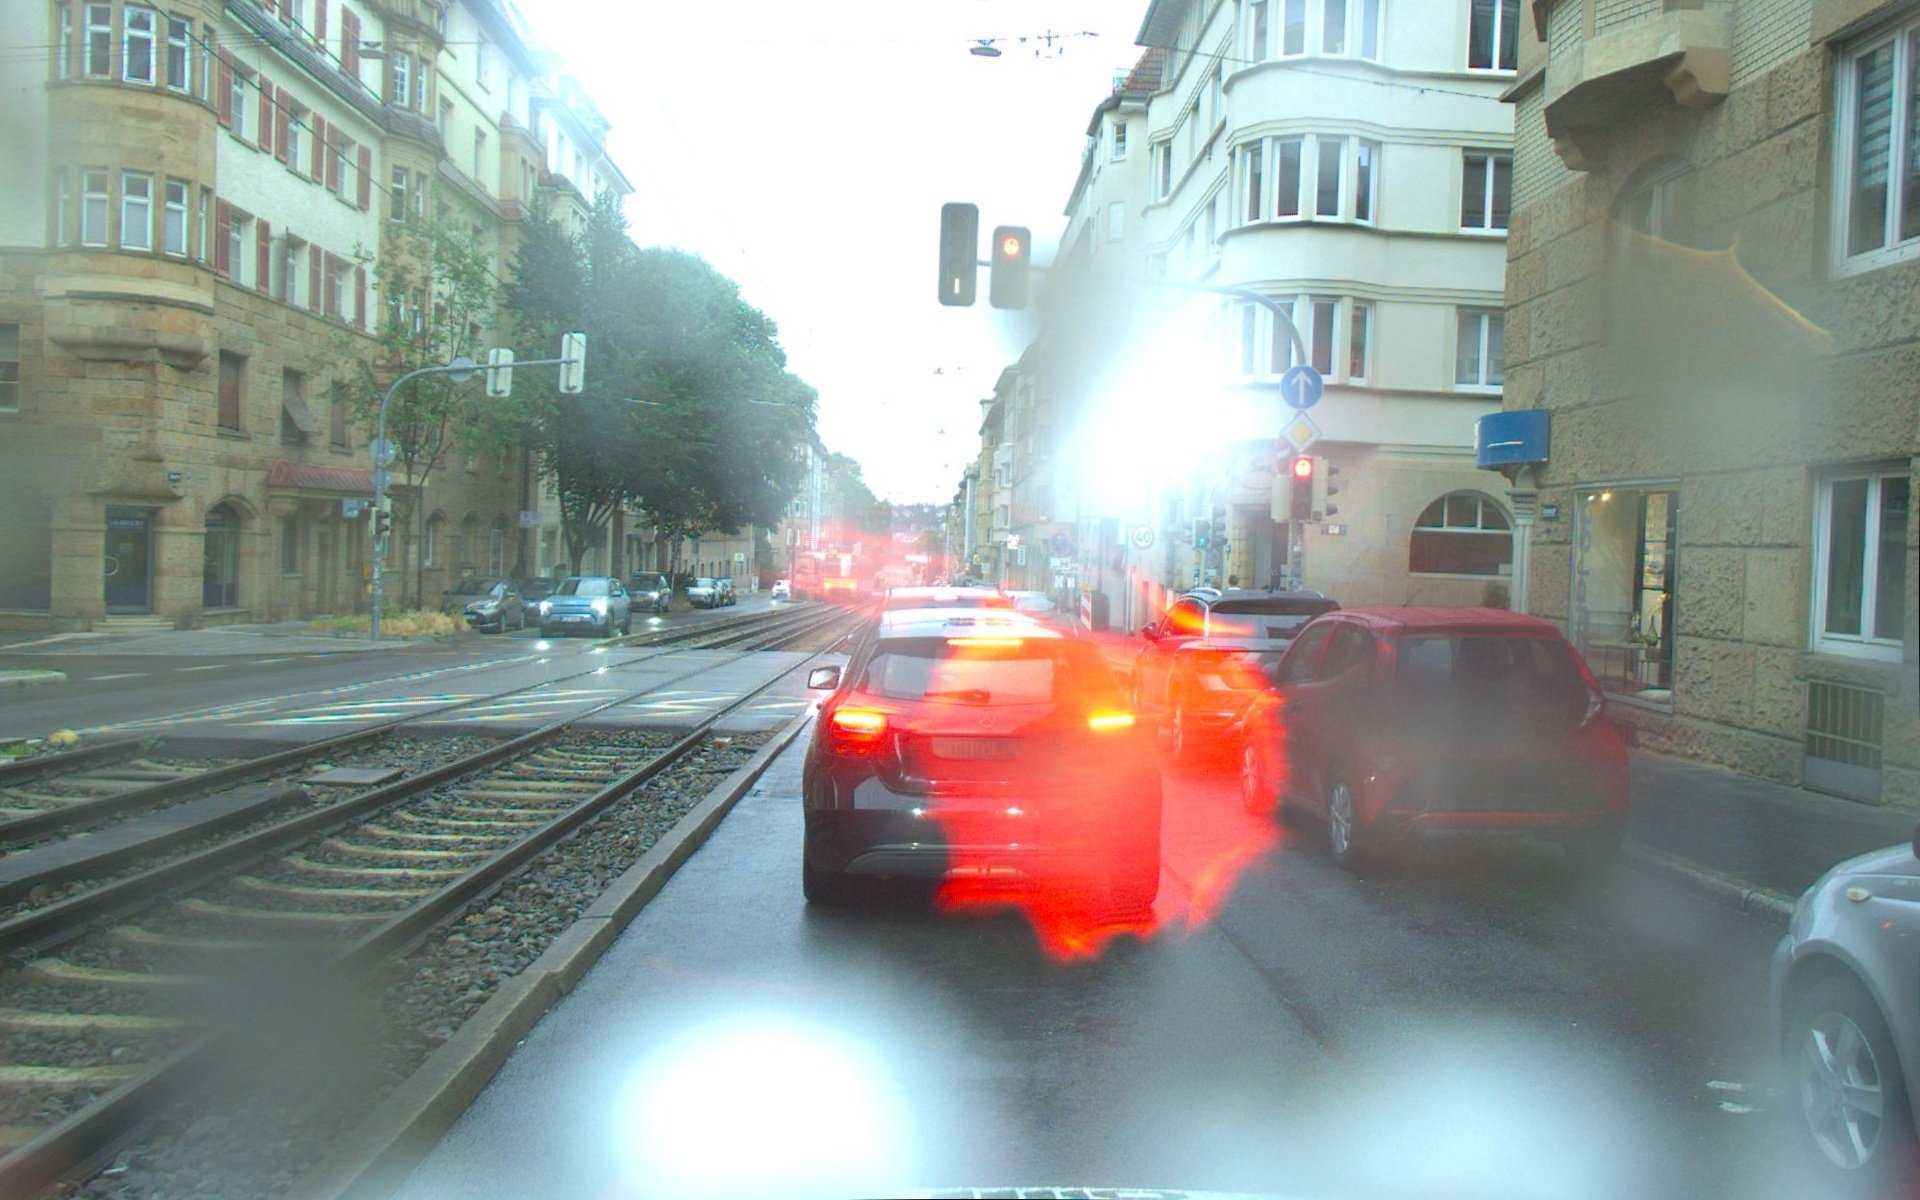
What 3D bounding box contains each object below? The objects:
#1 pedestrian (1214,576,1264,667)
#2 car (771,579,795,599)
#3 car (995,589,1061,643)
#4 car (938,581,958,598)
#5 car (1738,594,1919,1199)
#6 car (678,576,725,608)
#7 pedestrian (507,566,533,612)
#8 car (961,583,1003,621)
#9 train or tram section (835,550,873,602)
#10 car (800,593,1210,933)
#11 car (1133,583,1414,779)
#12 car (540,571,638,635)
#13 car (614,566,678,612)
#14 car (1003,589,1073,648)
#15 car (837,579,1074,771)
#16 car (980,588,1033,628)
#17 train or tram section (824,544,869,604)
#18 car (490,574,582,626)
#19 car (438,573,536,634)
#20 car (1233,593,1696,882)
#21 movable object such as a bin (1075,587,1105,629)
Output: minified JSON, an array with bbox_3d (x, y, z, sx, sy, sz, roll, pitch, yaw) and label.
[{"bbox_3d":[5.348,0.404,31.729,0.788,1.717,0.754,1,-1,-2],"label":"pedestrian"},{"bbox_3d":[-14.631,-0.900,136.797,1.745,1.529,4.060,1,0,-3],"label":"car"},{"bbox_3d":[1.955,0.450,49.006,1.677,1.493,4.773,1,0,-1],"label":"car"},{"bbox_3d":[-1.134,-0.960,159.131,1.848,1.552,4.246,2,0,1],"label":"car"},{"bbox_3d":[3.089,0.754,3.112,1.562,1.513,3.521,1,0,-1],"label":"car"},{"bbox_3d":[-13.909,-0.447,89.143,1.922,1.633,4.327,2,1,-2],"label":"car"},{"bbox_3d":[-16.448,-0.425,61.803,0.713,1.692,0.770,2,0,-2],"label":"pedestrian"},{"bbox_3d":[1.009,0.113,74.532,1.803,1.636,4.761,1,0,1],"label":"car"},{"bbox_3d":[-8.975,-2.023,141.787,2.690,4.132,15.656,1,1,-2],"label":"train or tram section"},{"bbox_3d":[0.173,0.720,9.310,1.797,1.478,3.901,1,0,-1],"label":"car"},{"bbox_3d":[2.829,0.671,15.812,1.830,1.576,3.990,2,0,-1],"label":"car"},{"bbox_3d":[-10.010,0.087,44.889,1.883,1.646,4.126,1,0,-3],"label":"car"},{"bbox_3d":[-13.567,-0.504,71.755,1.914,1.772,4.777,4,1,-3],"label":"car"},{"bbox_3d":[2.006,0.472,43.639,1.675,1.435,4.817,1,0,1],"label":"car"},{"bbox_3d":[-0.064,0.627,16.114,1.953,1.552,4.245,2,0,-1],"label":"car"},{"bbox_3d":[1.724,0.312,61.921,1.753,1.410,4.394,1,0,-1],"label":"car"},{"bbox_3d":[-8.484,-1.929,125.495,2.690,4.132,17.208,1,1,-2],"label":"train or tram section"},{"bbox_3d":[-13.006,0.006,51.045,1.745,1.485,4.976,1,0,-3],"label":"car"},{"bbox_3d":[-12.944,0.104,45.489,1.656,1.556,4.173,1,0,-3],"label":"car"},{"bbox_3d":[2.977,0.730,10.541,1.672,1.478,3.530,2,0,-3],"label":"car"},{"bbox_3d":[4.698,0.280,59.909,0.960,1.494,1.272,1,0,-2],"label":"movable object such as a bin"}]
